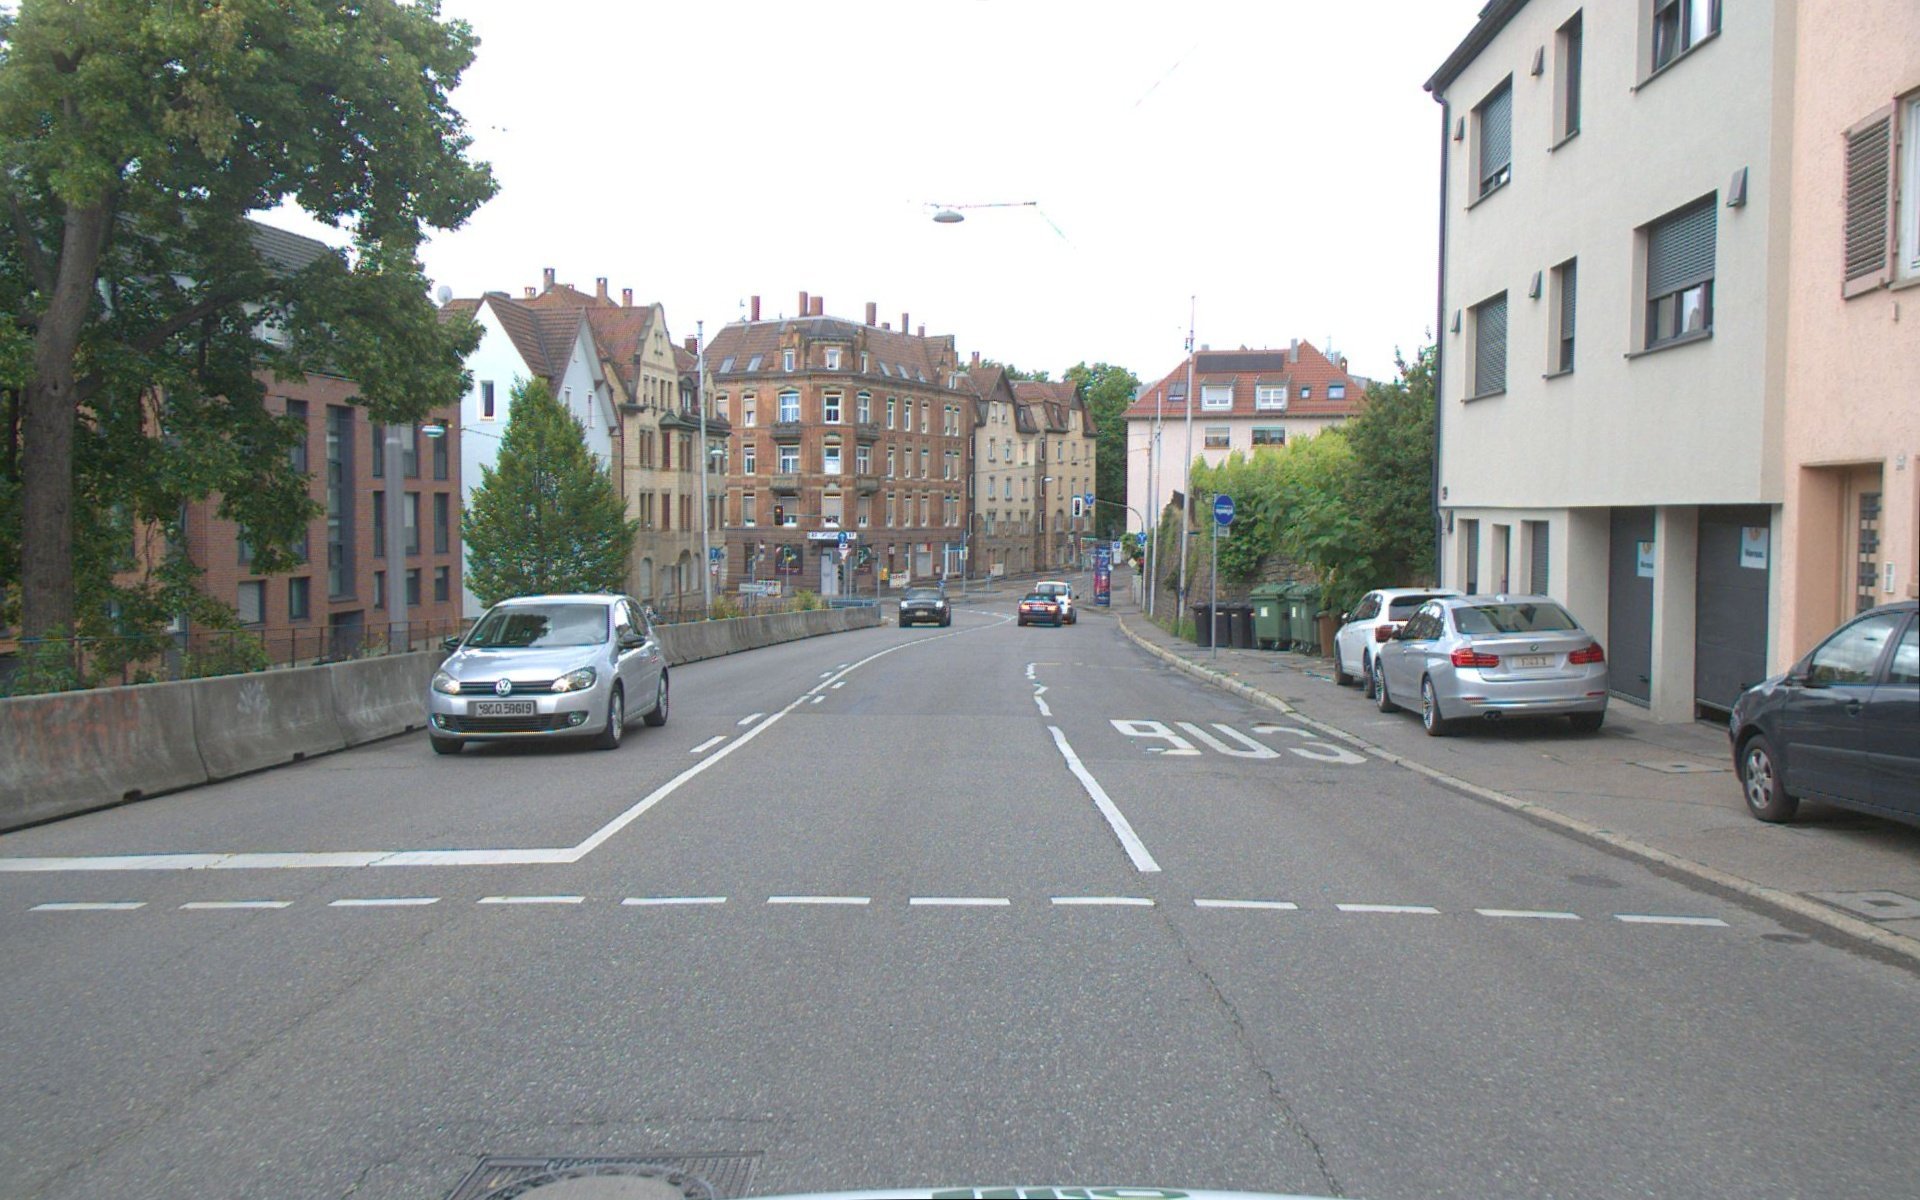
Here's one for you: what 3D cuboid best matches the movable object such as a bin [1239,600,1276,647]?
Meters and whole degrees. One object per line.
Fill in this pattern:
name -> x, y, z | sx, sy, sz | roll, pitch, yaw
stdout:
movable object such as a bin -> 6.941, 0.539, 38.604 | 0.697, 1.077, 0.545 | 0, -1, -15

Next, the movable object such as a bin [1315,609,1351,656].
movable object such as a bin -> 7.576, 0.654, 33.594 | 0.582, 0.958, 0.640 | 0, -1, 1

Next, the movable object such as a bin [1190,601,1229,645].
movable object such as a bin -> 6.126, 0.564, 40.613 | 0.730, 1.077, 0.677 | 0, -1, -15

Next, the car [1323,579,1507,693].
car -> 6.438, 0.472, 23.829 | 1.756, 1.448, 4.007 | -2, 0, 4

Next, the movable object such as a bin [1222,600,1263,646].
movable object such as a bin -> 6.699, 0.533, 39.237 | 0.730, 1.077, 0.677 | 0, -1, -15

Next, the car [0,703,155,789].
car -> -20.274, 3.271, 37.381 | 1.756, 1.536, 4.003 | -2, 0, 8

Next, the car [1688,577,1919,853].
car -> 6.098, 0.613, 9.900 | 1.647, 1.476, 4.000 | -4, 0, 0

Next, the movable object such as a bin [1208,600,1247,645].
movable object such as a bin -> 6.463, 0.547, 39.975 | 0.730, 1.077, 0.677 | 0, -1, -15

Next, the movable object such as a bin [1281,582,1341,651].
movable object such as a bin -> 7.609, 0.362, 35.916 | 1.026, 1.470, 1.204 | 0, -1, -2

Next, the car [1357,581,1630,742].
car -> 5.865, 0.586, 18.784 | 1.757, 1.476, 4.720 | -3, 1, 3

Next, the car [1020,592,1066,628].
car -> 3.554, 0.391, 70.107 | 1.778, 1.455, 4.002 | 1, 0, 5

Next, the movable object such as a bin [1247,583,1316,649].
movable object such as a bin -> 7.315, 0.352, 37.648 | 1.030, 1.470, 1.413 | 0, -1, -15

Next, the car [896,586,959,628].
car -> -1.309, 0.285, 68.056 | 1.940, 1.602, 4.378 | -2, 0, 7

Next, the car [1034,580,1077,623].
car -> 4.489, 0.065, 76.978 | 1.869, 1.917, 4.002 | 1, 0, 5

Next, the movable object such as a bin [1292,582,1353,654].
movable object such as a bin -> 7.574, 0.382, 34.577 | 1.026, 1.470, 1.205 | 0, -1, 1

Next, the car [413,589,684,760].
car -> -3.994, 0.656, 16.745 | 1.685, 1.470, 4.158 | -1, 0, 0
